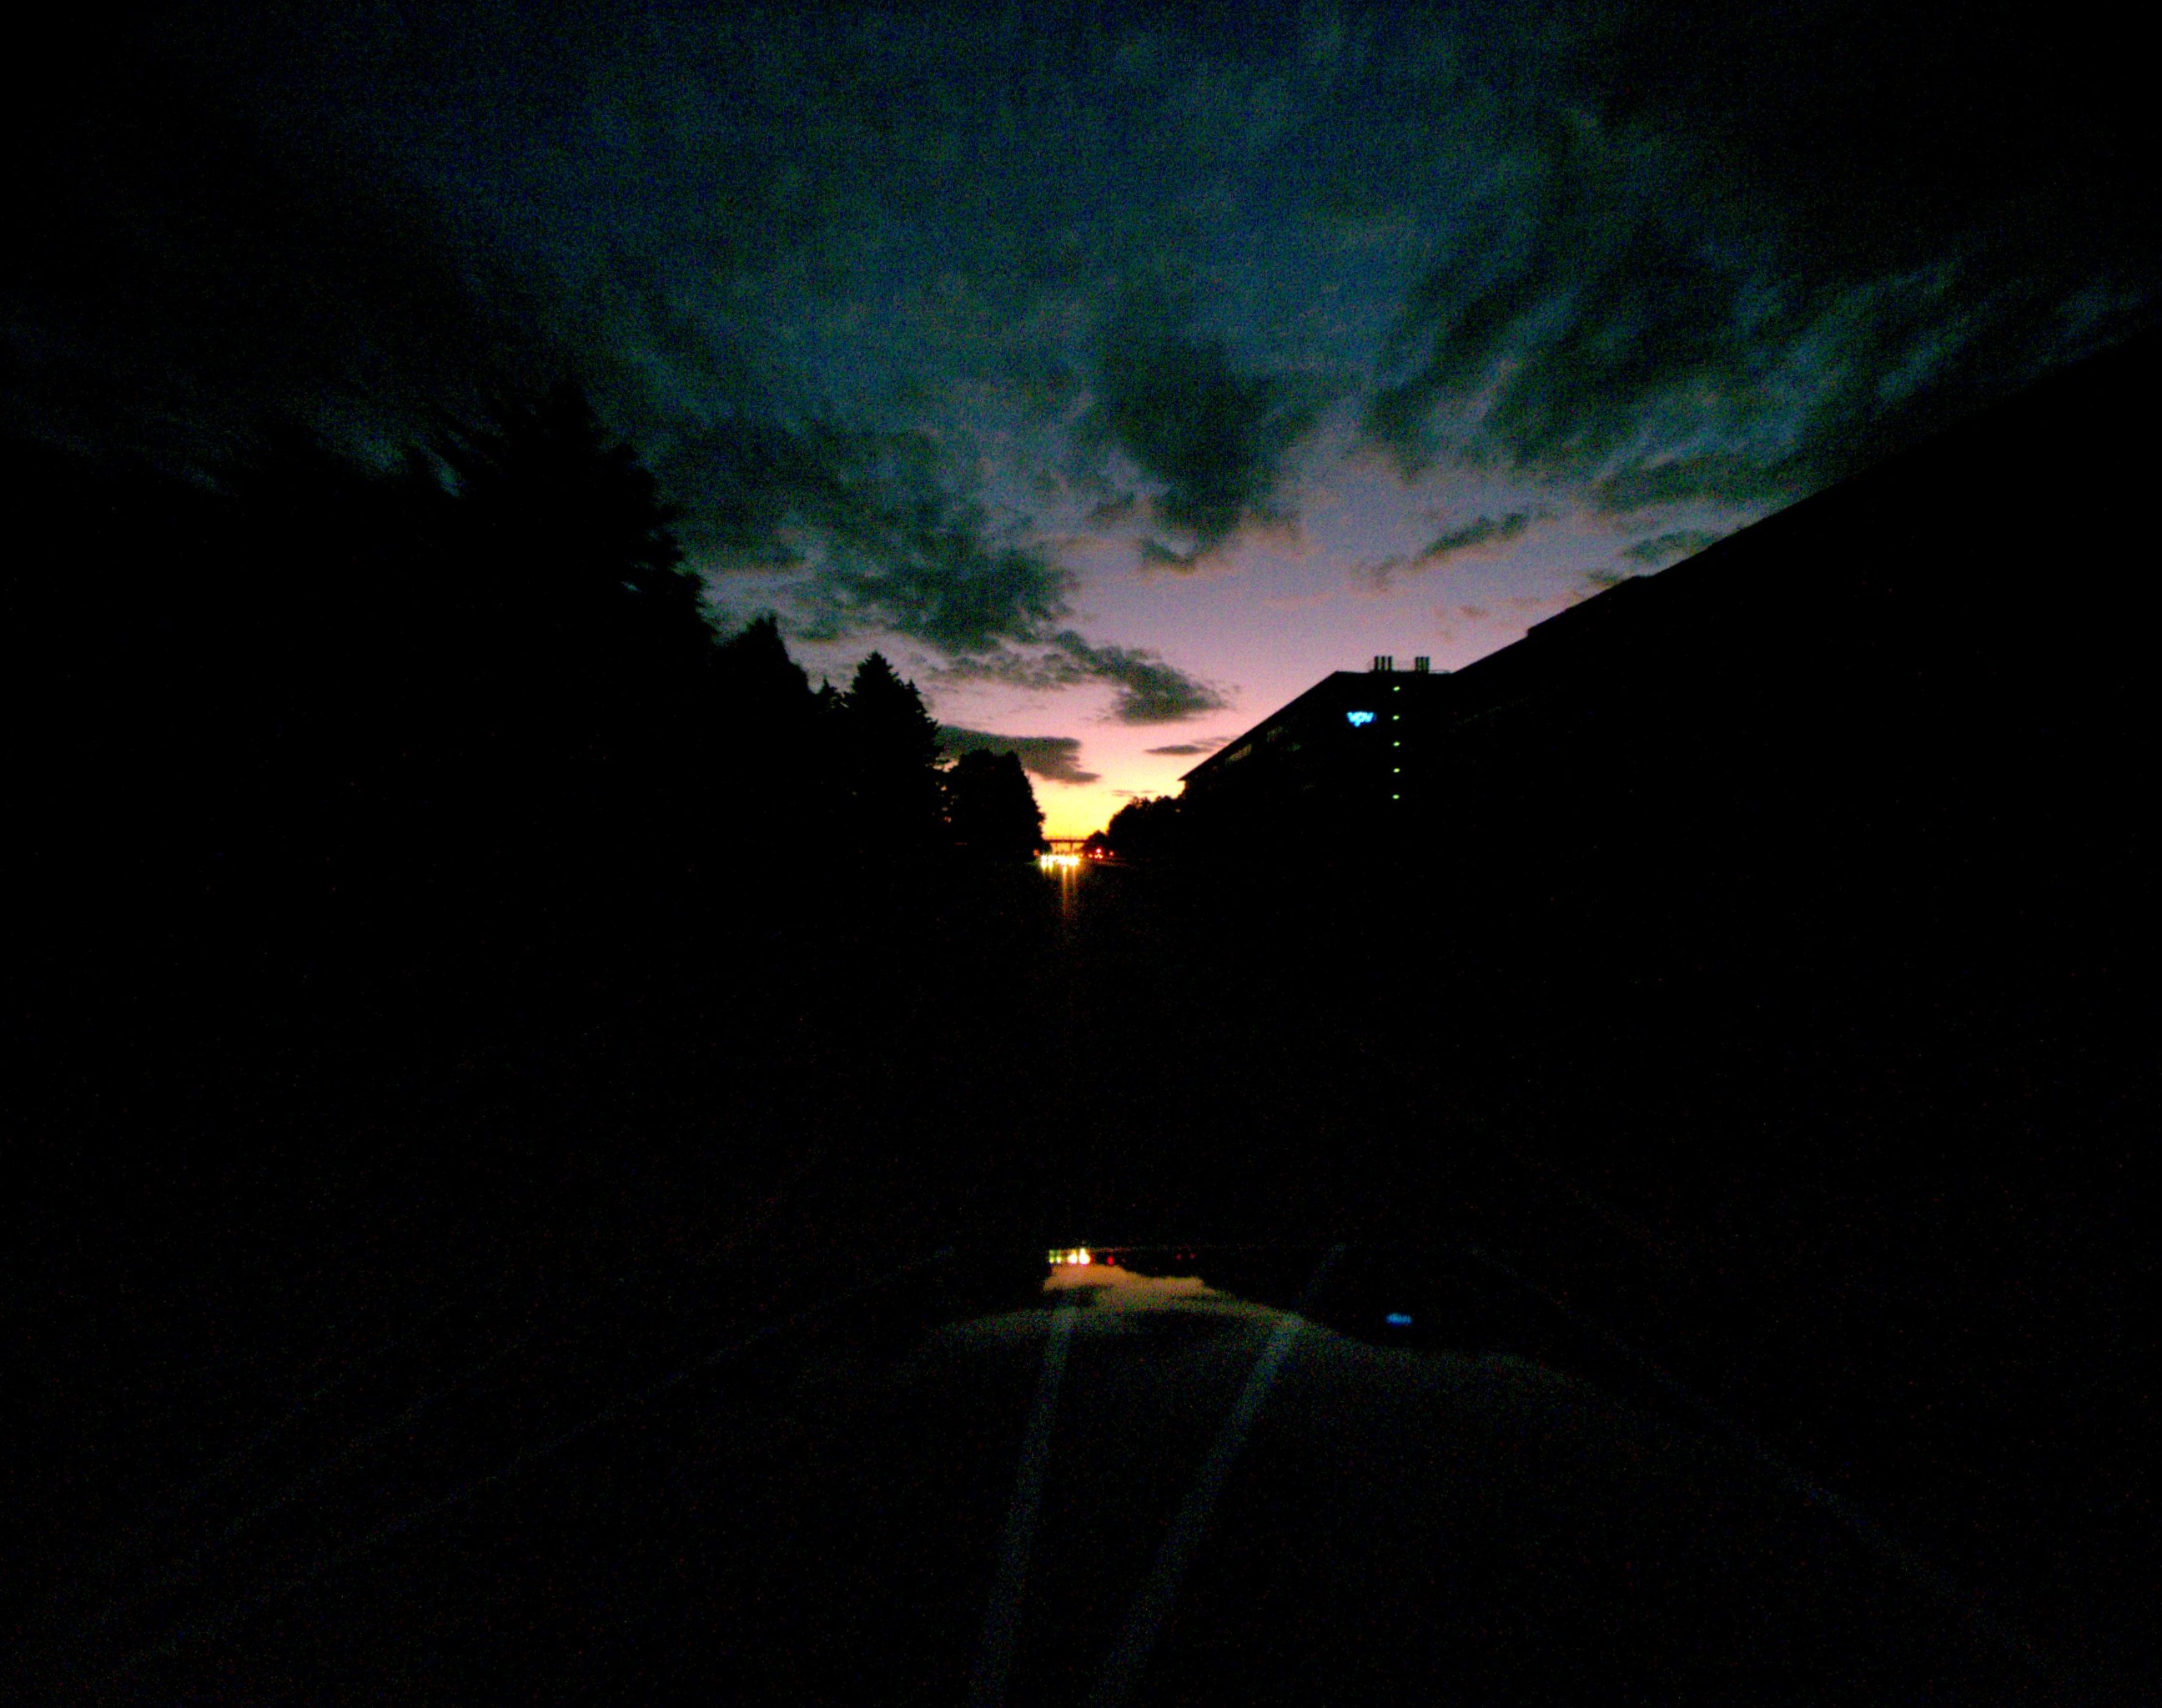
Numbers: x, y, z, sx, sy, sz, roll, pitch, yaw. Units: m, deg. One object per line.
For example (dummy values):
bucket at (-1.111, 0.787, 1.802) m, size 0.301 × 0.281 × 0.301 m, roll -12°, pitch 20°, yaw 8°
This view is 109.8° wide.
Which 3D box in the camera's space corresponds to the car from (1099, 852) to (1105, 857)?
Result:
car at (5.951, 0.030, 216.934) m, size 1.693 × 1.372 × 3.571 m, roll 0°, pitch 0°, yaw -2°

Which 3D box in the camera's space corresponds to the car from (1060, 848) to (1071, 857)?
car at (-3.601, -0.324, 178.257) m, size 1.861 × 2.002 × 4.001 m, roll -2°, pitch 0°, yaw 6°

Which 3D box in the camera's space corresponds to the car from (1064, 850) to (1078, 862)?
car at (-1.259, 0.270, 96.683) m, size 1.756 × 1.447 × 3.803 m, roll -1°, pitch 0°, yaw 0°

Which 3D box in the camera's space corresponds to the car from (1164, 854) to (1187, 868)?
car at (10.170, 0.747, 81.637) m, size 1.840 × 1.460 × 3.844 m, roll 2°, pitch 0°, yaw -2°
